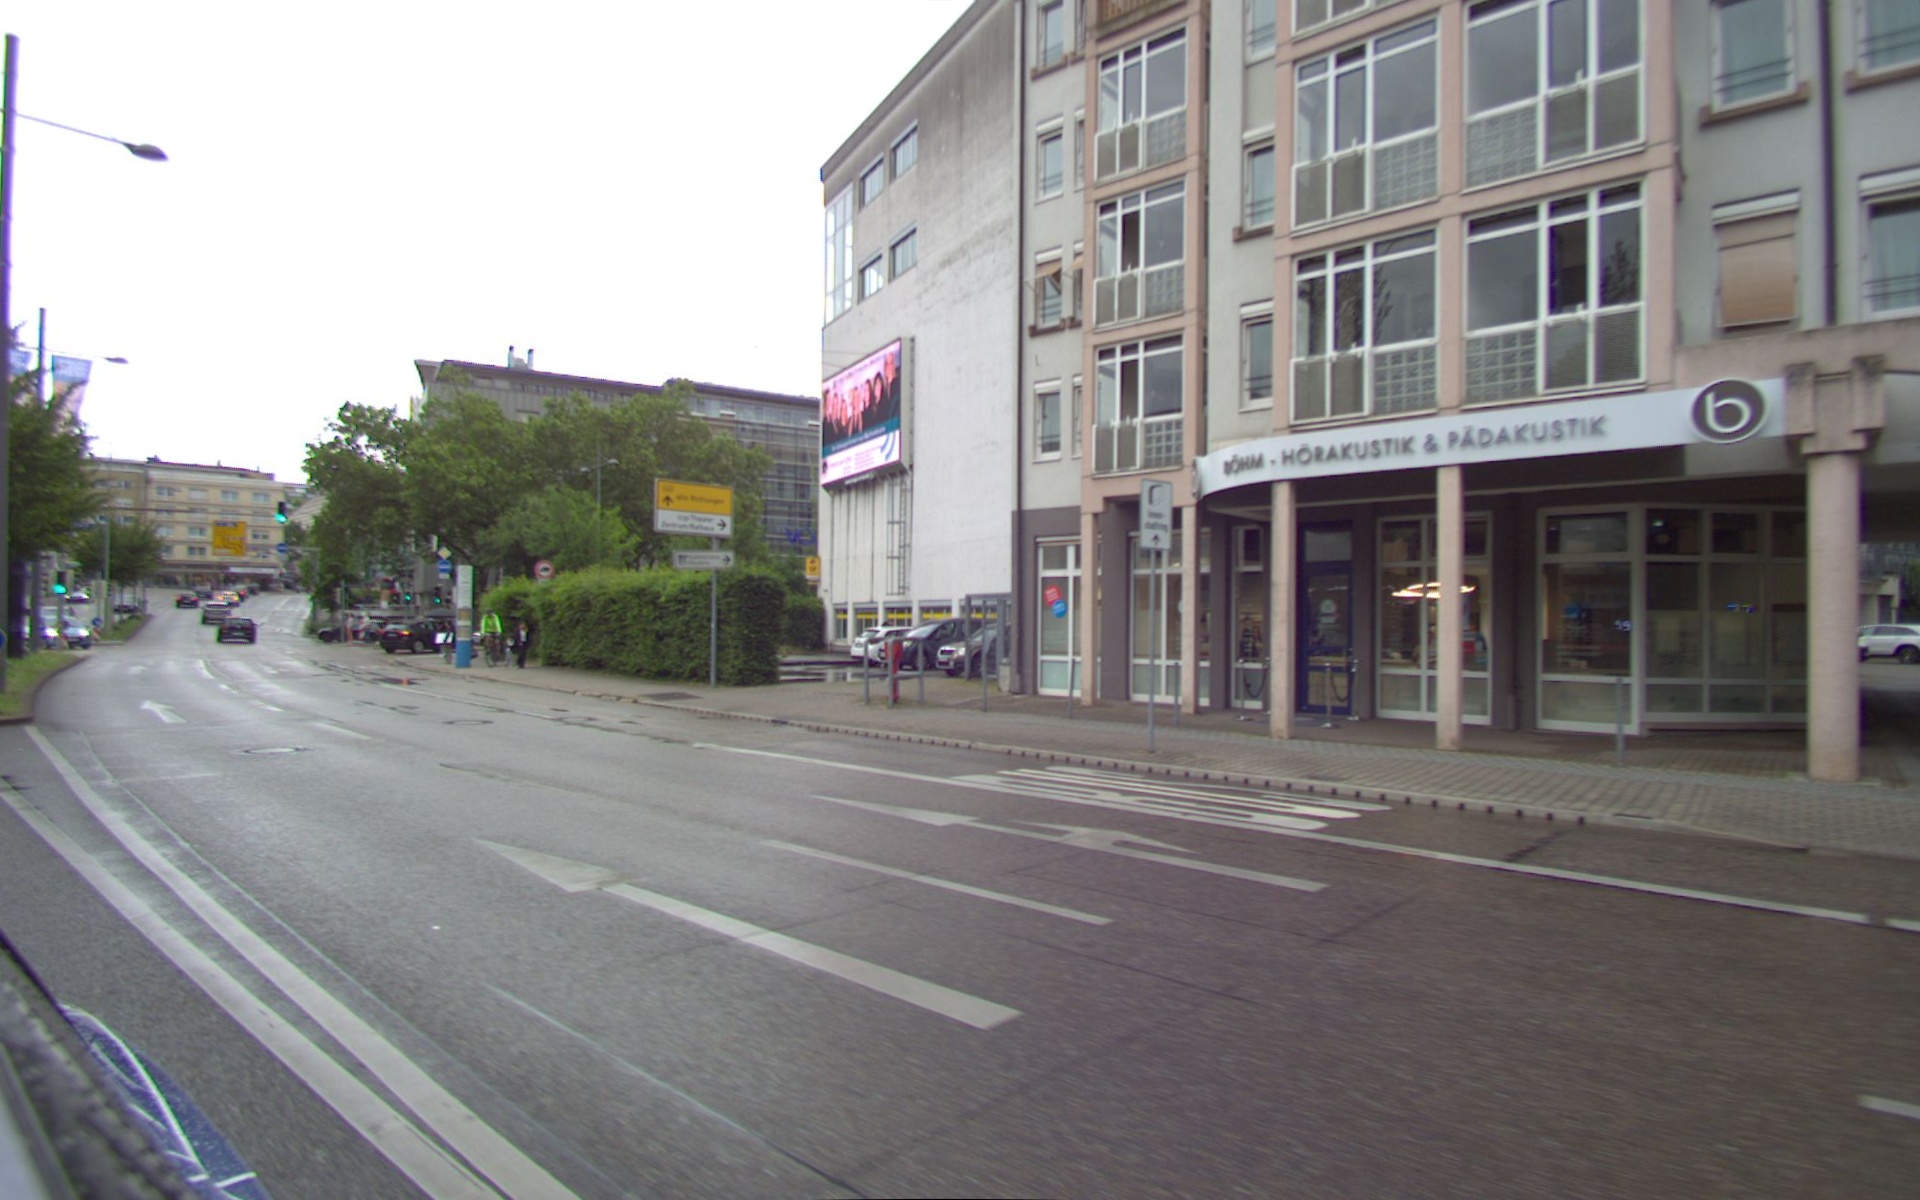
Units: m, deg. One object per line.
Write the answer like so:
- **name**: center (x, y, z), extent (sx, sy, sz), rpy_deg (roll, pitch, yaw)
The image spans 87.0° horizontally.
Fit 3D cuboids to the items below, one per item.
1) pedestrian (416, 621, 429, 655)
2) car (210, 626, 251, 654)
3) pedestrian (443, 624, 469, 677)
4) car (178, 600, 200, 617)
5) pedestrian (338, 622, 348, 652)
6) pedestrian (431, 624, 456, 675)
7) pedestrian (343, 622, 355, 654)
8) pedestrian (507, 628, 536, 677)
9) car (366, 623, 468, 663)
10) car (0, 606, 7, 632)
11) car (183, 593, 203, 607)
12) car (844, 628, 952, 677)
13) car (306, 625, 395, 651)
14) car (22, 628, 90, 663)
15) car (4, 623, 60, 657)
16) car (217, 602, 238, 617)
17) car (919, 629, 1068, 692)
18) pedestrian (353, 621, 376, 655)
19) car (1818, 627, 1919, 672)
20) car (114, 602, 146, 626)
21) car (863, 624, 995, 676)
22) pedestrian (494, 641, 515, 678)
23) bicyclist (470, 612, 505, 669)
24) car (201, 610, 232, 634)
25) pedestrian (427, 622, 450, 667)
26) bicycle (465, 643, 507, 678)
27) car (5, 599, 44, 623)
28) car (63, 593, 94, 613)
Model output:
- **pedestrian**: center (-29.598, 2.089, 55.725), extent (0.520, 1.777, 0.594), rpy_deg (-2, 2, -38)
- **car**: center (-41.333, 2.243, 57.300), extent (1.734, 1.431, 4.105), rpy_deg (4, -2, -37)
- **pedestrian**: center (-17.401, 1.736, 34.927), extent (0.643, 1.778, 0.584), rpy_deg (-1, -2, 42)
- **car**: center (-74.672, 0.854, 98.039), extent (1.602, 1.567, 3.666), rpy_deg (2, -2, -38)
- **pedestrian**: center (-36.743, 2.232, 60.251), extent (0.406, 1.777, 0.678), rpy_deg (2, -3, -39)
- **pedestrian**: center (-18.545, 1.768, 36.318), extent (0.528, 1.778, 0.622), rpy_deg (-1, -2, 40)
- **pedestrian**: center (-35.956, 2.208, 59.522), extent (0.441, 1.851, 0.677), rpy_deg (2, 1, -41)
- **pedestrian**: center (-14.360, 1.713, 33.126), extent (0.565, 1.571, 0.706), rpy_deg (-2, -3, 44)
- **car**: center (-25.263, 2.009, 47.241), extent (1.815, 1.749, 4.241), rpy_deg (1, -3, 13)
- **car**: center (-69.323, 1.397, 71.886), extent (1.803, 1.749, 4.010), rpy_deg (3, 0, -35)
- **car**: center (-85.685, -0.003, 113.101), extent (1.691, 1.490, 3.966), rpy_deg (4, -2, -37)
- **car**: center (-2.235, 1.859, 36.463), extent (3.538, 1.587, 1.605), rpy_deg (0, 0, -31)
- **car**: center (-37.953, 2.345, 63.104), extent (4.360, 1.406, 1.935), rpy_deg (2, -1, -4)
- **car**: center (-40.731, 2.031, 45.587), extent (3.686, 1.485, 1.679), rpy_deg (-1, -3, 39)
- **car**: center (-45.519, 1.930, 49.700), extent (1.742, 1.420, 4.008), rpy_deg (0, 0, -39)
- **car**: center (-75.911, 0.982, 104.896), extent (1.650, 1.527, 3.651), rpy_deg (3, -2, -37)
- **car**: center (1.000, 1.744, 29.841), extent (3.931, 1.752, 1.960), rpy_deg (1, -2, -30)
- **pedestrian**: center (-34.479, 2.170, 58.585), extent (0.824, 1.921, 0.852), rpy_deg (0, -1, 29)
- **car**: center (39.079, 2.056, 42.520), extent (1.837, 1.796, 4.249), rpy_deg (0, -2, -35)
- **car**: center (-71.057, 1.182, 86.658), extent (1.803, 1.749, 4.010), rpy_deg (3, 0, -35)
- **car**: center (-1.030, 1.646, 34.210), extent (3.992, 1.587, 1.961), rpy_deg (0, 0, -28)
- **pedestrian**: center (-14.676, 1.910, 32.596), extent (0.502, 1.159, 0.463), rpy_deg (-2, -3, 45)
- **bicyclist**: center (-16.060, 1.366, 34.394), extent (0.954, 1.904, 0.782), rpy_deg (-1, -2, 44)
- **car**: center (-58.421, 1.703, 79.469), extent (1.803, 1.749, 4.319), rpy_deg (2, -1, -38)
- **pedestrian**: center (-21.046, 1.774, 40.832), extent (0.639, 1.777, 0.593), rpy_deg (1, 1, -42)
- **bicycle**: center (-16.150, 2.039, 34.451), extent (0.643, 1.119, 2.059), rpy_deg (2, -2, -45)
- **car**: center (-76.083, 0.904, 82.347), extent (1.803, 1.749, 4.010), rpy_deg (3, 0, -35)
- **car**: center (-87.215, 0.276, 100.164), extent (1.803, 1.749, 4.010), rpy_deg (3, 0, -35)
